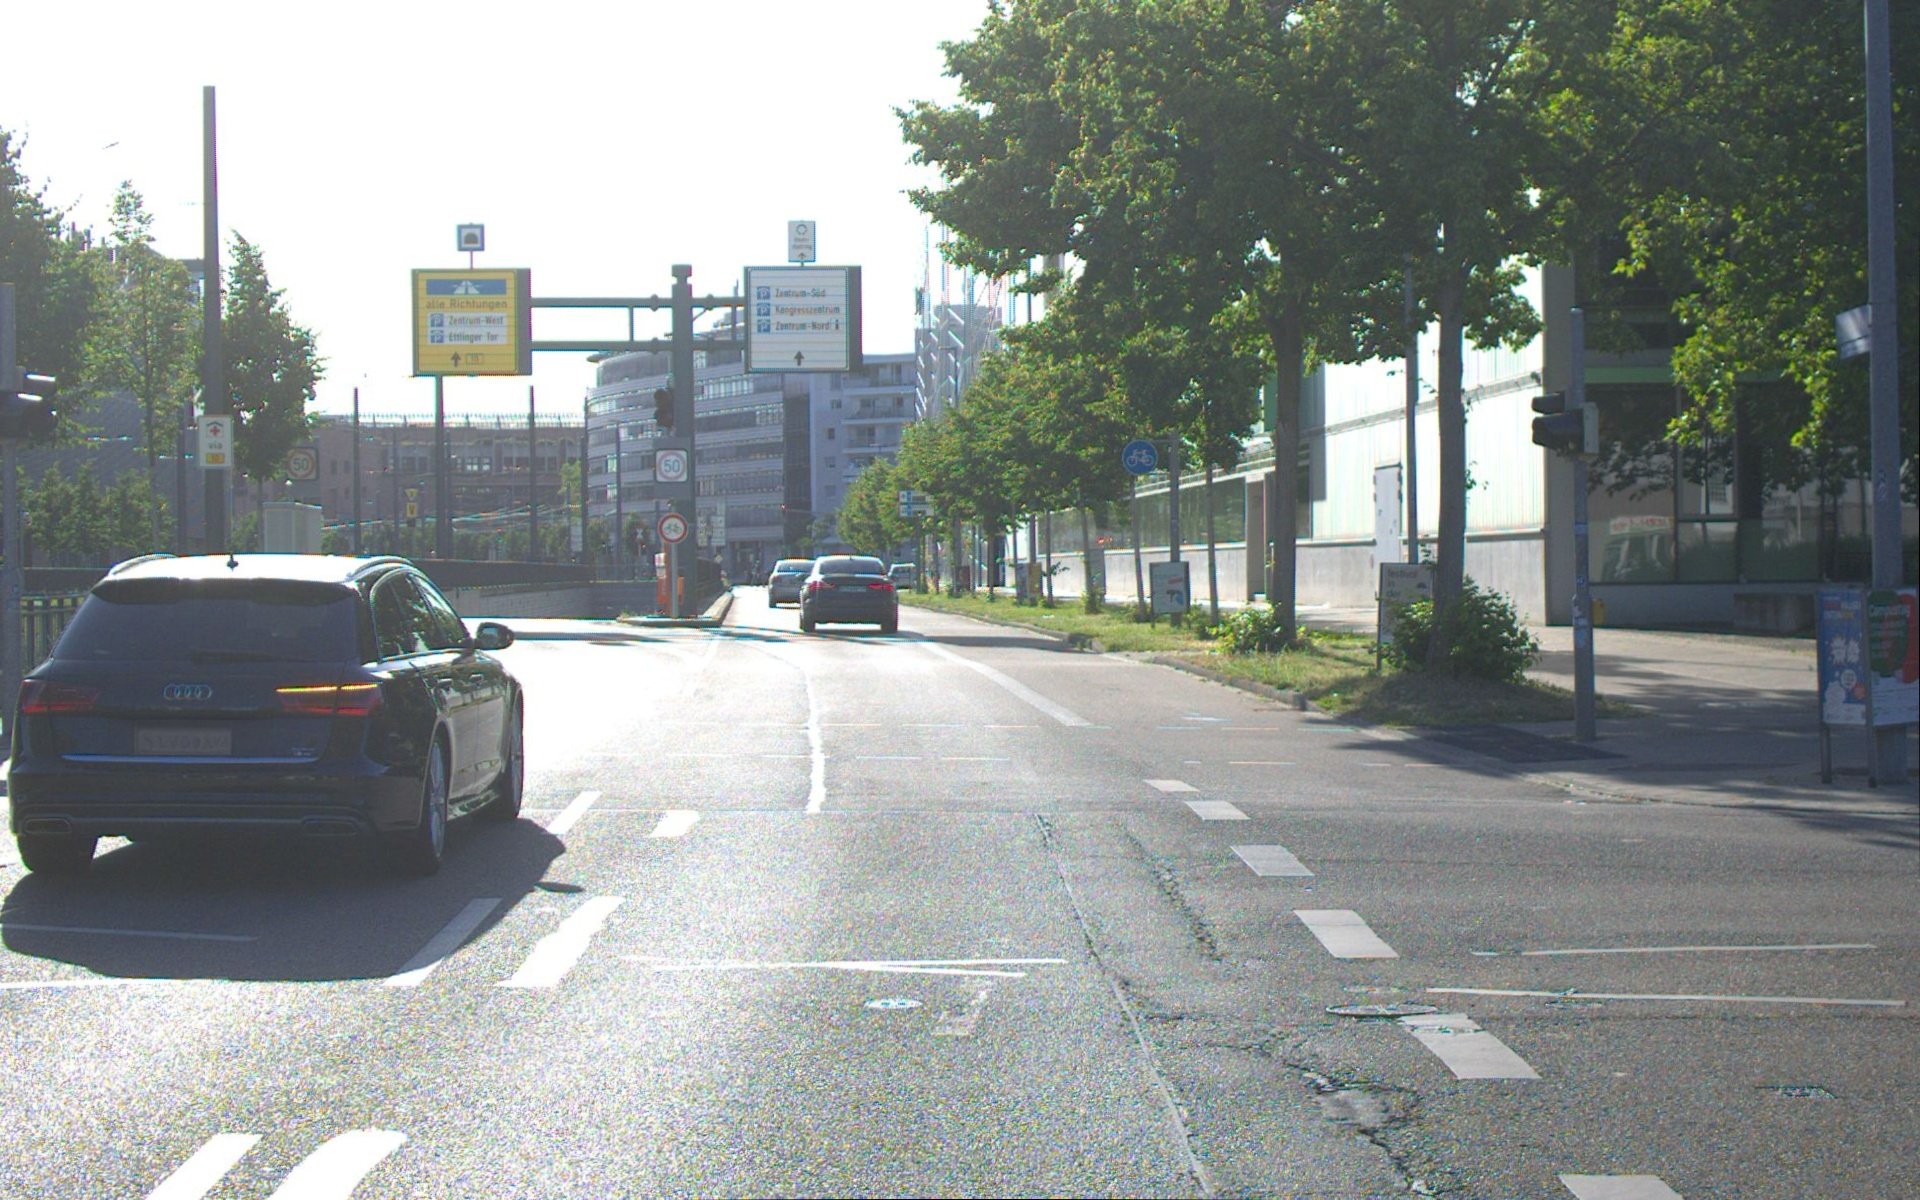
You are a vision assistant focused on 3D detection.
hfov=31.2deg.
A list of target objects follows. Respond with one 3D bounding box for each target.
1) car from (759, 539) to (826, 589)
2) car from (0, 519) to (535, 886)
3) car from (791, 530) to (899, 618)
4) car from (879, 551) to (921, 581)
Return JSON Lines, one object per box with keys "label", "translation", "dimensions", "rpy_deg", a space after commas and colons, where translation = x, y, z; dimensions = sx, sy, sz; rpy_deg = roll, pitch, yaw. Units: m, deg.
{"label": "car", "translation": [-5.131, -1.113, 105.629], "dimensions": [1.993, 1.460, 4.001], "rpy_deg": [1, 2, -3]}
{"label": "car", "translation": [-3.276, 0.374, 16.621], "dimensions": [1.812, 1.422, 4.690], "rpy_deg": [-1, 2, 0]}
{"label": "car", "translation": [-2.171, -0.503, 64.026], "dimensions": [1.852, 1.541, 4.001], "rpy_deg": [1, 1, -4]}
{"label": "car", "translation": [-3.168, -1.781, 180.904], "dimensions": [1.852, 1.476, 4.855], "rpy_deg": [-2, 1, -4]}
